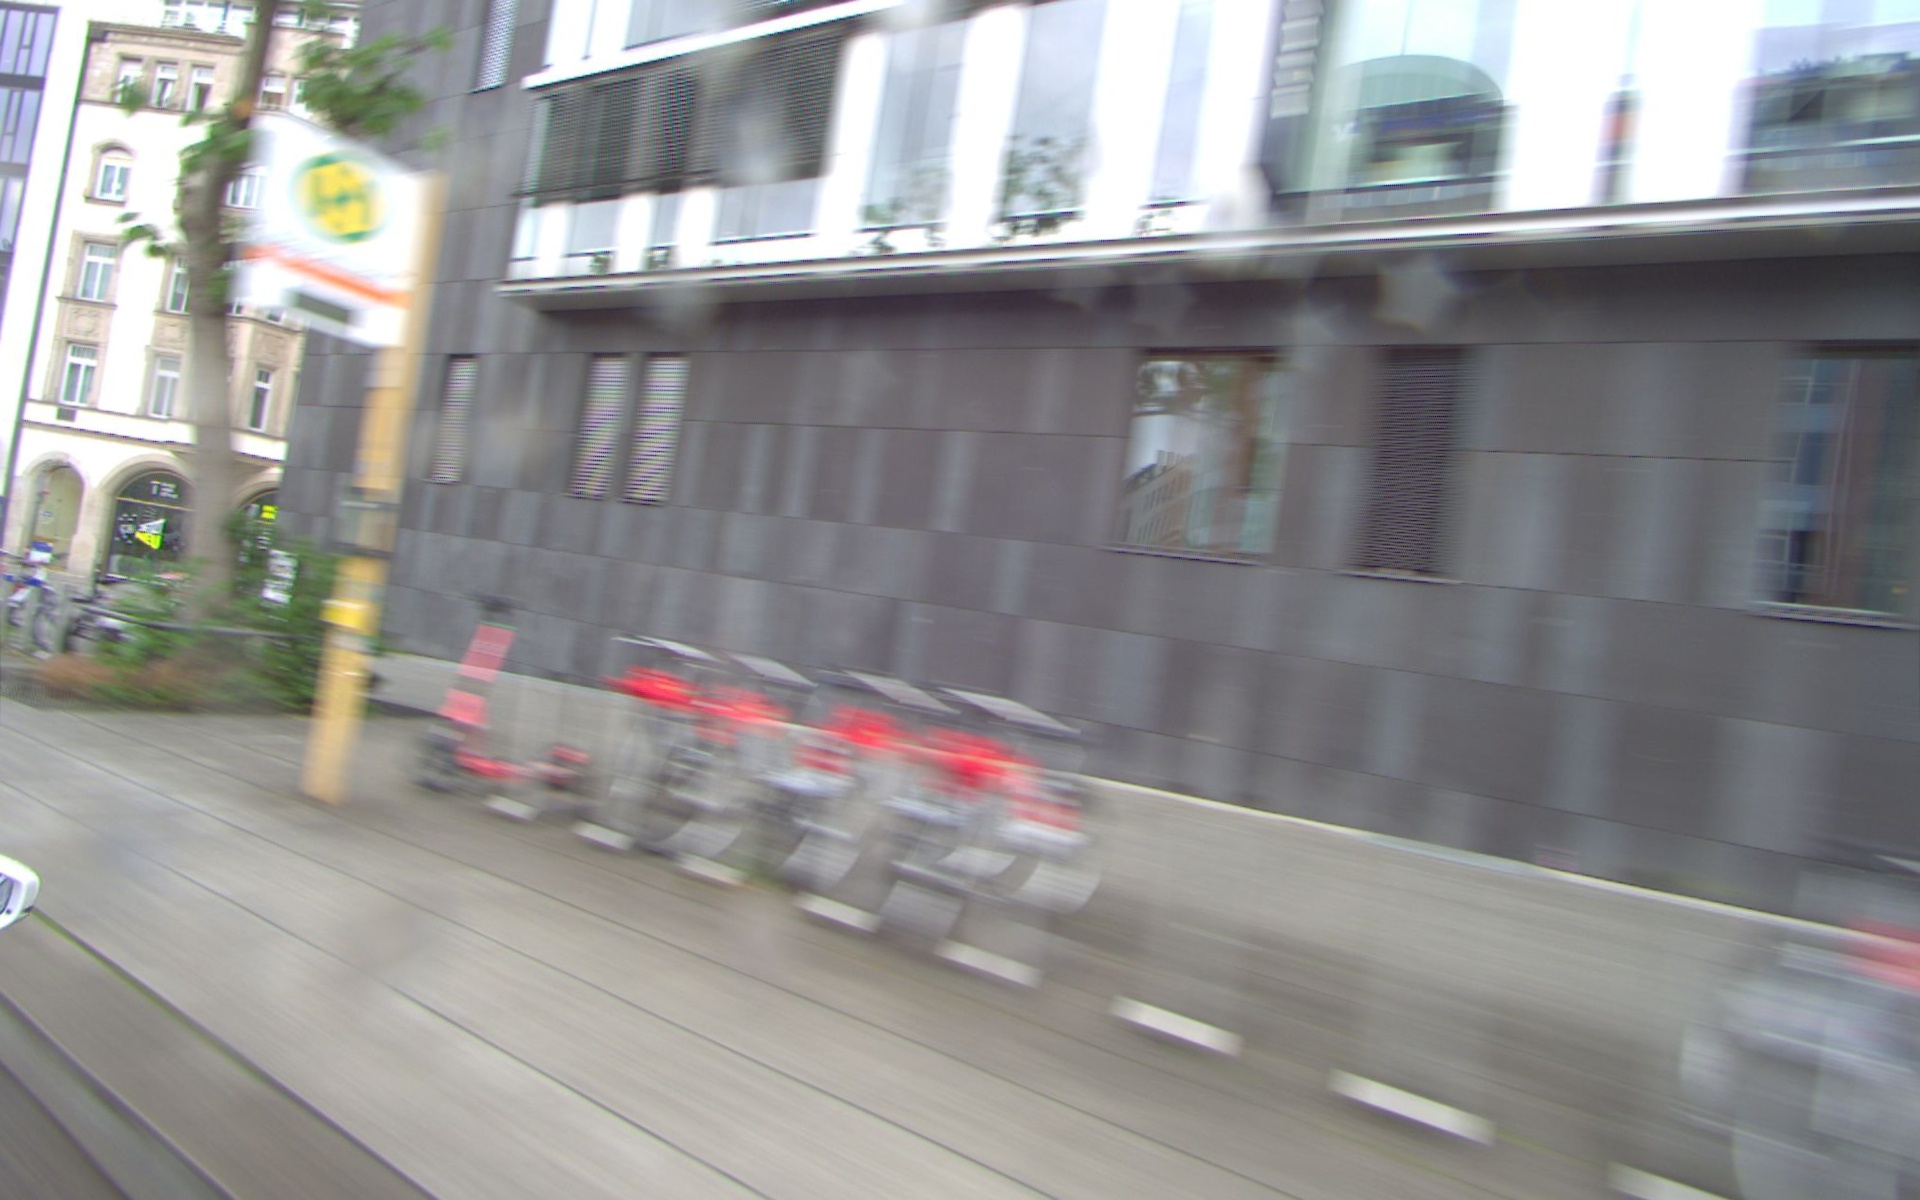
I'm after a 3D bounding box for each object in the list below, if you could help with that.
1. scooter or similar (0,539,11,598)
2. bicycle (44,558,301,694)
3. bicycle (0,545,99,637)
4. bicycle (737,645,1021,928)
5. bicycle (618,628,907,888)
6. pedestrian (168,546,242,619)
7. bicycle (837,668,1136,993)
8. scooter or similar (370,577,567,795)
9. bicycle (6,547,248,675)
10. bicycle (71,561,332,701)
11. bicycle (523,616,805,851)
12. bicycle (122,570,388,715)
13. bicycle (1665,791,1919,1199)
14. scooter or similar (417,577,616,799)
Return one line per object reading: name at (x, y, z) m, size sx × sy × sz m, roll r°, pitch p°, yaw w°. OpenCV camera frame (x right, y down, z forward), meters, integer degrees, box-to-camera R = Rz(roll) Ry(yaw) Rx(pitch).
scooter or similar at (-14.803, -0.403, 14.209) m, size 0.585 × 1.256 × 1.800 m, roll 6°, pitch -5°, yaw 26°
bicycle at (-7.634, 0.301, 9.867) m, size 0.546 × 1.079 × 1.802 m, roll 6°, pitch -5°, yaw 26°
bicycle at (-12.986, -0.178, 13.603) m, size 0.658 × 1.119 × 1.802 m, roll 6°, pitch -5°, yaw 25°
bicycle at (-0.336, 0.896, 5.193) m, size 0.677 × 1.152 × 1.540 m, roll 6°, pitch -3°, yaw 25°
bicycle at (-1.009, 0.828, 5.563) m, size 0.677 × 1.152 × 1.540 m, roll 6°, pitch -3°, yaw 25°
pedestrian at (-21.544, -0.496, 28.703) m, size 1.226 × 1.856 × 0.876 m, roll 7°, pitch -4°, yaw 17°
bicycle at (0.221, 0.974, 4.734) m, size 0.677 × 1.152 × 1.713 m, roll 6°, pitch -4°, yaw 25°
scooter or similar at (-3.134, 0.564, 6.506) m, size 0.297 × 1.271 × 1.064 m, roll 6°, pitch -3°, yaw 24°
bicycle at (-9.025, 0.160, 10.998) m, size 0.658 × 1.119 × 1.802 m, roll 6°, pitch -5°, yaw 25°
bicycle at (-7.070, 0.339, 9.501) m, size 0.546 × 1.079 × 1.802 m, roll 6°, pitch -5°, yaw 26°
bicycle at (-1.691, 0.776, 6.028) m, size 0.651 × 1.152 × 1.540 m, roll 6°, pitch -3°, yaw 25°
bicycle at (-6.259, 0.430, 9.069) m, size 0.546 × 1.079 × 1.802 m, roll 6°, pitch -5°, yaw 26°
bicycle at (2.808, 1.281, 3.049) m, size 0.677 × 1.153 × 1.736 m, roll 7°, pitch -2°, yaw 25°
scooter or similar at (-2.778, 0.569, 6.407) m, size 0.297 × 1.271 × 1.110 m, roll 6°, pitch -3°, yaw 24°
